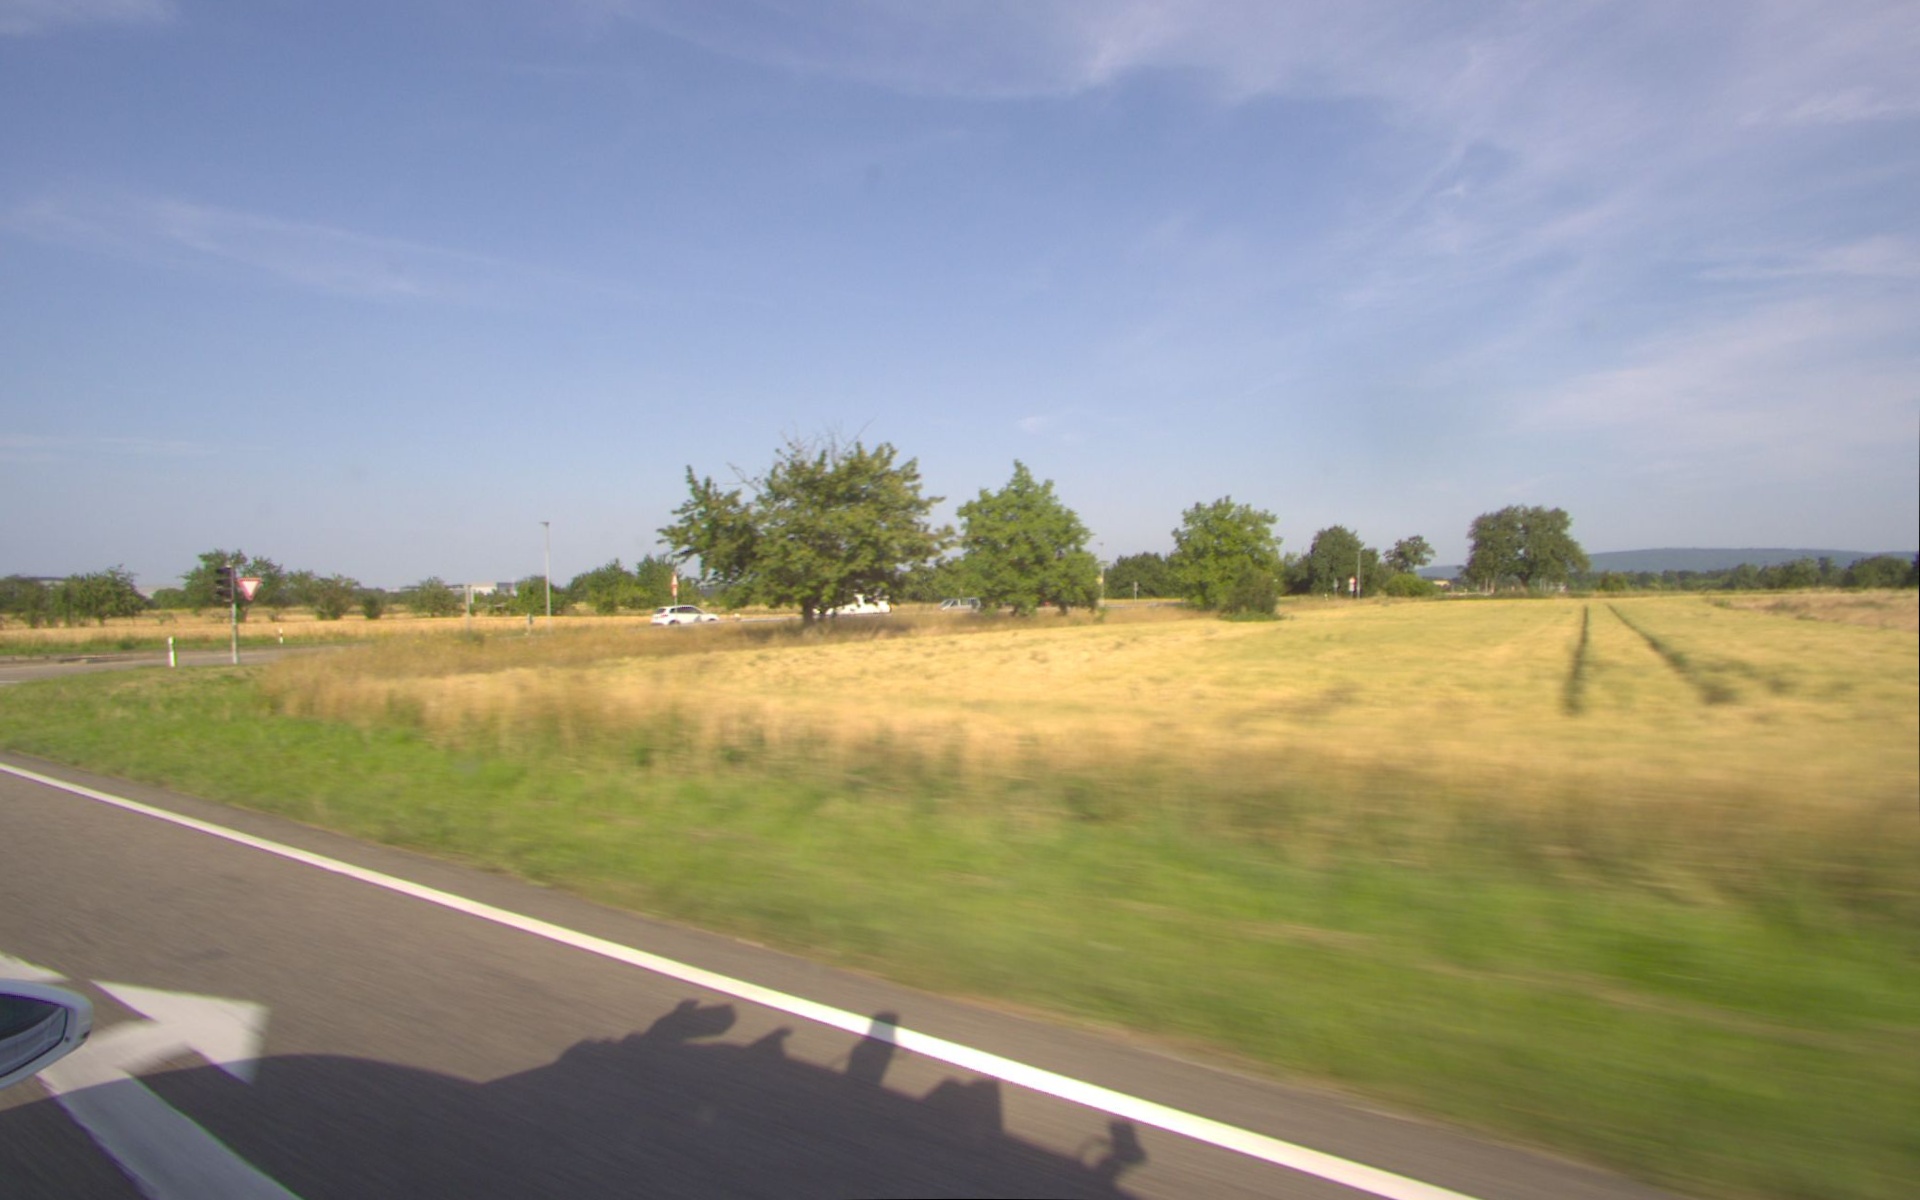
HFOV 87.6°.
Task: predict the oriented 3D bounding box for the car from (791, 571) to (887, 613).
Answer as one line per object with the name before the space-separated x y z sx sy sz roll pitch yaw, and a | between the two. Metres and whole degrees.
car | -8.758 -0.513 73.346 6.968 2.831 2.298 2 -1 -43

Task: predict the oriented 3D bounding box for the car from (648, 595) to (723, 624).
car | -16.372 0.602 59.832 3.958 1.618 1.844 2 -1 -42
